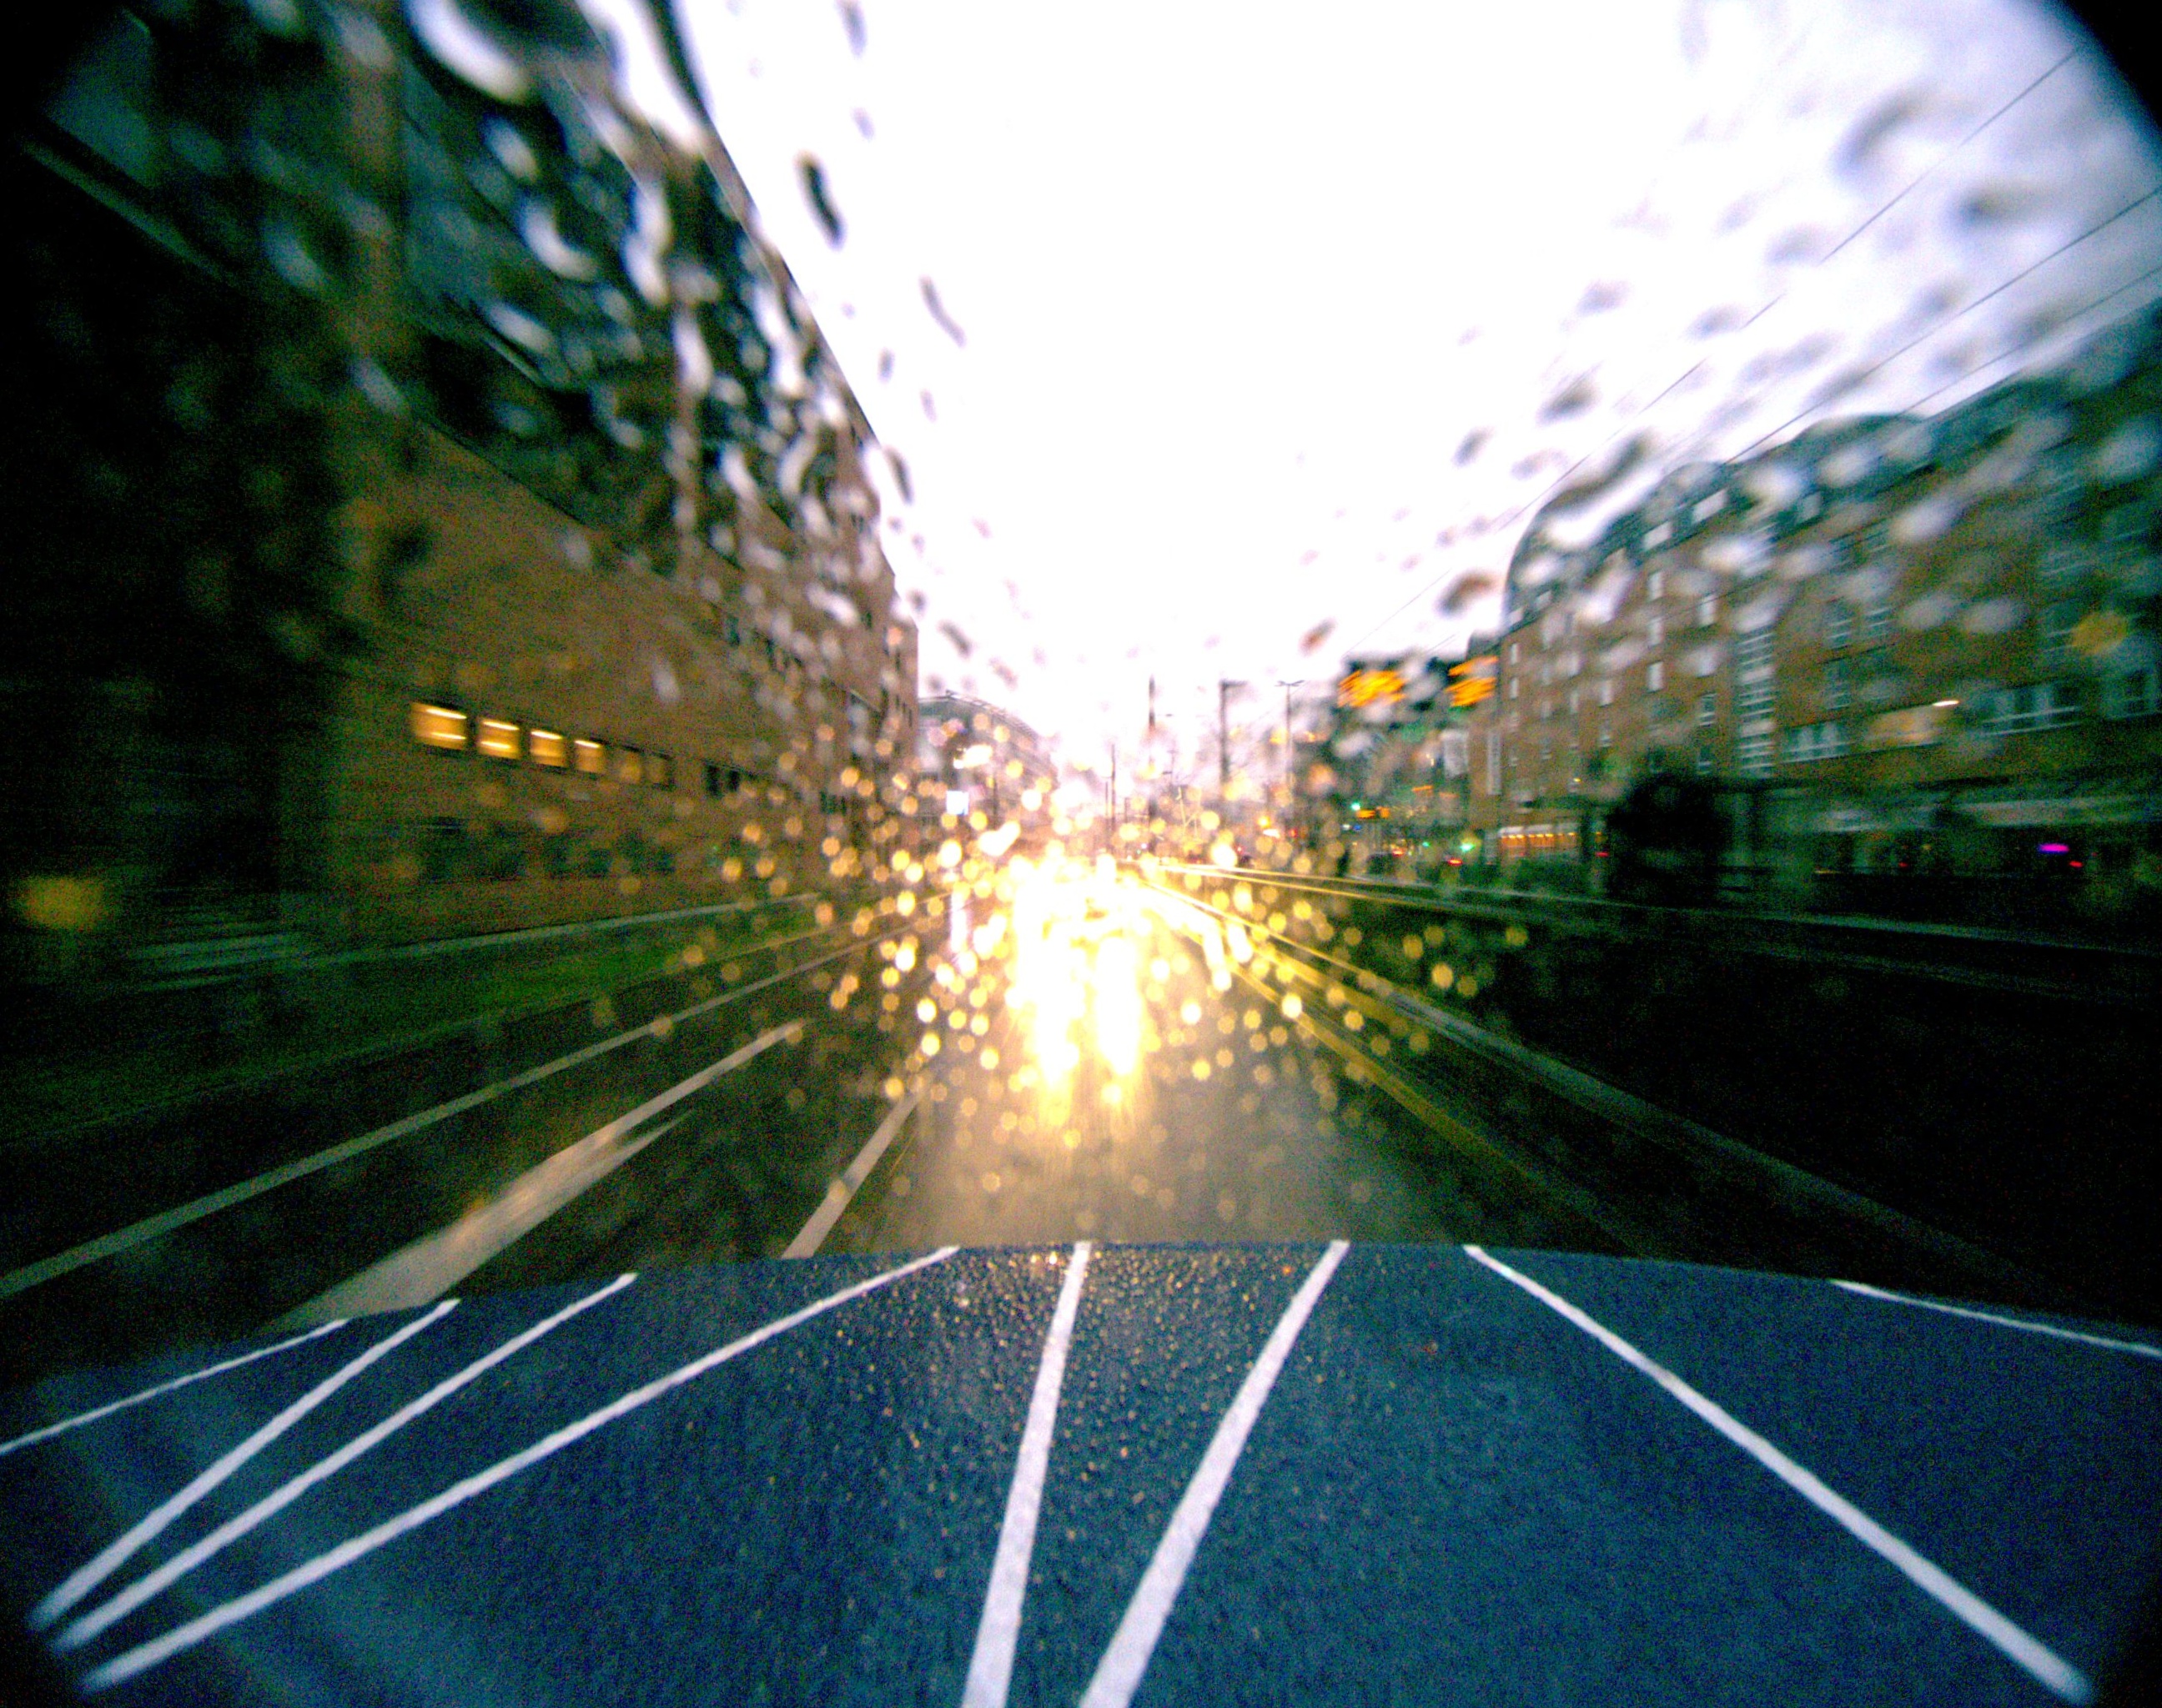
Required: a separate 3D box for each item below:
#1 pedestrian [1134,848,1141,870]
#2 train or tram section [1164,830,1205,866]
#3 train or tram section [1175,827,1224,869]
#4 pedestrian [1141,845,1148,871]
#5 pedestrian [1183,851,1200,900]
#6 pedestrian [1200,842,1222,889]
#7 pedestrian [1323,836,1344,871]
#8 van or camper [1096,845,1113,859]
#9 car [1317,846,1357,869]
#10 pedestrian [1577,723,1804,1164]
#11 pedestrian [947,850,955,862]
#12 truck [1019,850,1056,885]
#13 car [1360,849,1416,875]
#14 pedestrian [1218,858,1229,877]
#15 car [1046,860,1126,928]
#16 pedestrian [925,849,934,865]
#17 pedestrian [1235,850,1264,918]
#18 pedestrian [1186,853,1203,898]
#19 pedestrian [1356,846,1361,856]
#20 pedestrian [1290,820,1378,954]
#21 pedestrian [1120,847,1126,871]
[{"bbox_3d":[4.348,0.372,58.180,0.434,1.725,0.473,-1,1,-4],"label":"pedestrian"},{"bbox_3d":[11.019,-0.623,81.888,2.932,3.557,11.035,-2,0,1],"label":"train or tram section"},{"bbox_3d":[10.870,-0.568,70.858,2.907,3.547,11.035,-2,0,1],"label":"train or tram section"},{"bbox_3d":[4.871,0.302,57.925,0.434,1.956,0.473,-1,1,-4],"label":"pedestrian"},{"bbox_3d":[3.782,0.730,25.986,0.482,1.669,0.563,-1,1,-2],"label":"pedestrian"},{"bbox_3d":[4.428,0.391,25.876,0.620,1.581,0.622,-1,1,-2],"label":"pedestrian"},{"bbox_3d":[13.590,-0.027,40.888,0.794,1.876,0.883,-1,1,-2],"label":"pedestrian"},{"bbox_3d":[4.304,-0.387,137.572,2.059,2.533,5.890,-2,0,12],"label":"van or camper"},{"bbox_3d":[17.400,0.211,51.784,1.521,1.508,3.325,-1,1,0],"label":"car"},{"bbox_3d":[3.128,0.394,3.901,0.814,1.936,0.802,-1,1,-43],"label":"pedestrian"},{"bbox_3d":[-18.324,0.289,107.296,1.152,1.776,0.777,0,1,-9],"label":"pedestrian"},{"bbox_3d":[-2.537,0.789,45.385,1.909,1.906,4.617,-2,0,0],"label":"truck"},{"bbox_3d":[17.441,0.419,43.305,1.686,1.346,3.545,-1,1,0],"label":"car"},{"bbox_3d":[8.943,0.838,47.641,0.581,1.146,0.490,-2,1,2],"label":"pedestrian"},{"bbox_3d":[0.125,0.924,19.338,1.774,1.449,4.221,-2,0,0],"label":"car"},{"bbox_3d":[-17.655,0.349,88.703,0.802,1.800,0.649,-1,1,-33],"label":"pedestrian"},{"bbox_3d":[4.226,0.742,19.068,0.541,1.682,0.643,-1,1,-2],"label":"pedestrian"},{"bbox_3d":[4.004,0.754,26.750,0.482,1.581,0.563,-1,1,-2],"label":"pedestrian"},{"bbox_3d":[46.456,-0.476,127.330,0.726,1.698,0.695,0,1,20],"label":"pedestrian"},{"bbox_3d":[3.332,0.411,10.058,0.779,1.694,0.772,-1,1,-18],"label":"pedestrian"},{"bbox_3d":[3.315,0.405,59.980,0.413,1.835,0.669,-1,1,-4],"label":"pedestrian"}]
